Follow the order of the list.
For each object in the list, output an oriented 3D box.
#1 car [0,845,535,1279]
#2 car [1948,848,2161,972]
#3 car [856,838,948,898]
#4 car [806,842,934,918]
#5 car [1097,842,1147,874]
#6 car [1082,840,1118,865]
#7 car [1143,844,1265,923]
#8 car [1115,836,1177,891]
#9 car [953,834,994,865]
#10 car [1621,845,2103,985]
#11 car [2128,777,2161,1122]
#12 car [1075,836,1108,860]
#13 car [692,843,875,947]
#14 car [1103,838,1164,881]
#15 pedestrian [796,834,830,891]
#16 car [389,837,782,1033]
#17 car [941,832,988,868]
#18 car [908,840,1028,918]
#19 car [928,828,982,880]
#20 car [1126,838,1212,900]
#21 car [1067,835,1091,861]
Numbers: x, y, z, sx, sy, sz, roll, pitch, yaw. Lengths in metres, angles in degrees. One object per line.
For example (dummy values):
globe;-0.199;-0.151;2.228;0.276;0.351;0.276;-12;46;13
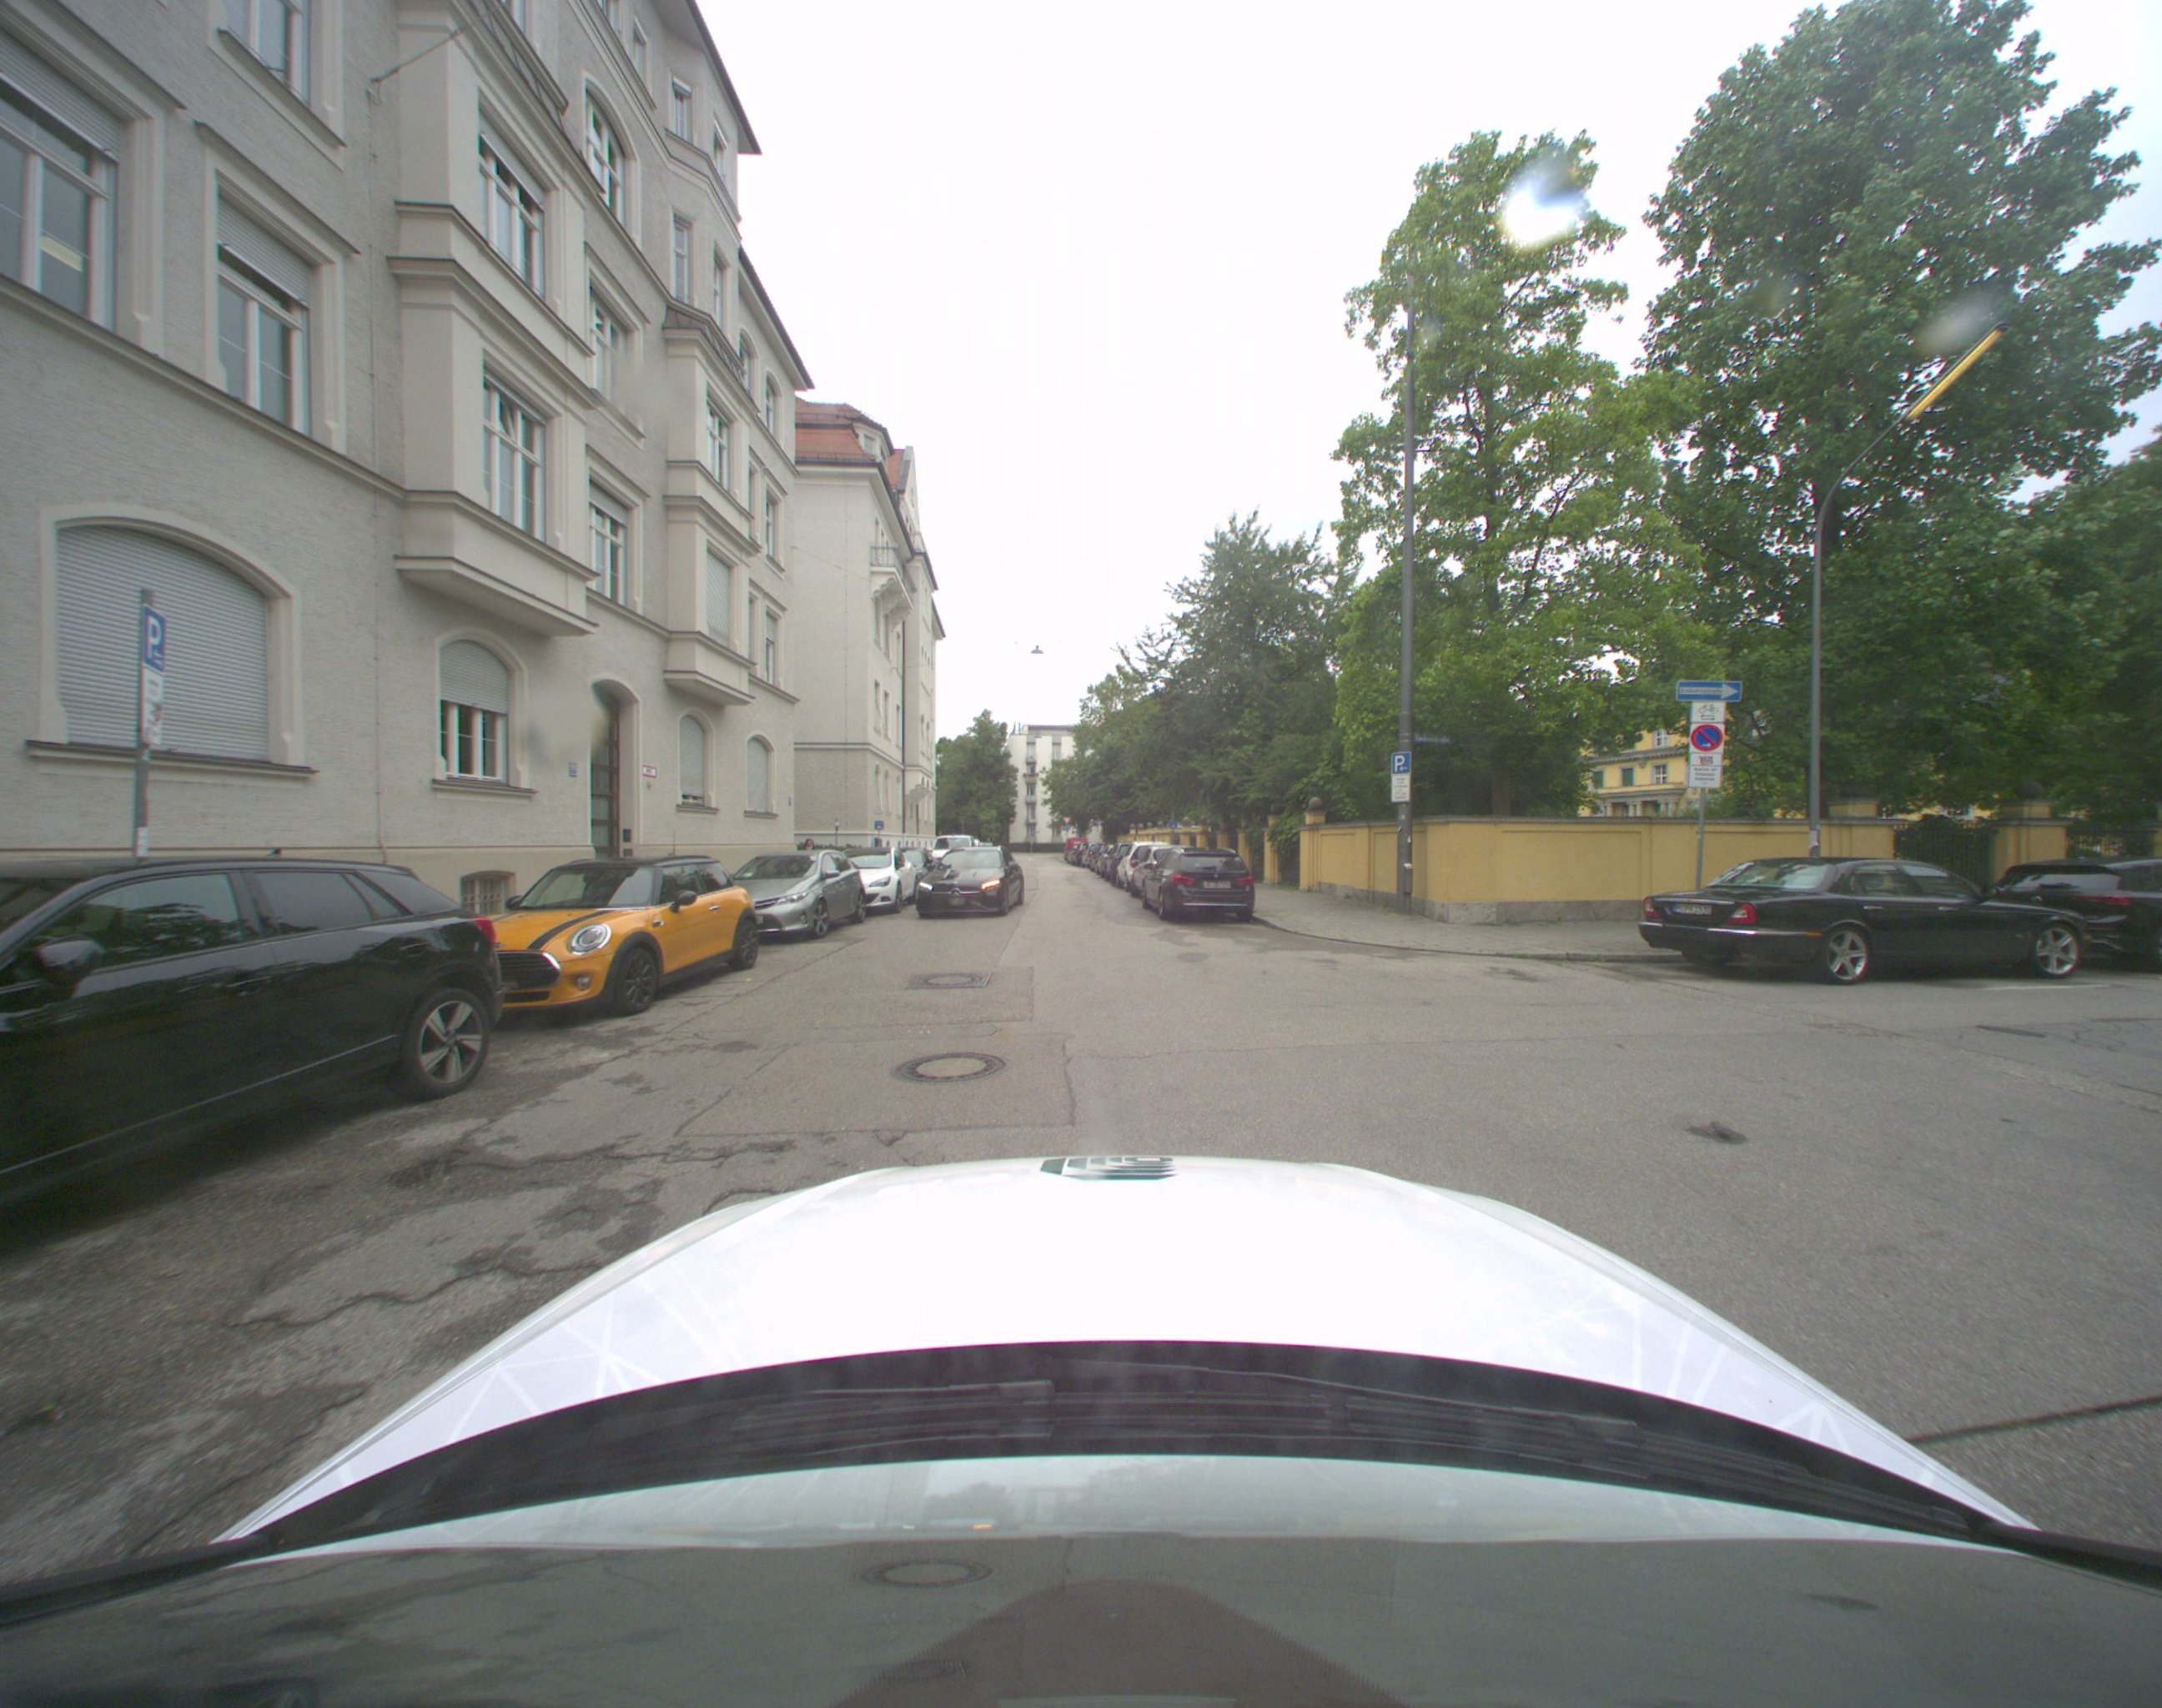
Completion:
car;-4.681;0.756;3.620;1.748;1.499;4.018;-2;1;0
car;14.919;0.672;11.098;4.588;1.482;1.918;0;0;-7
car;-5.135;0.330;23.927;1.832;1.499;4.271;-3;2;-2
car;-4.794;0.501;19.123;1.831;1.437;4.274;-3;2;0
car;1.835;0.159;37.633;1.835;1.346;3.941;1;1;-5
car;1.172;-0.116;51.380;1.835;1.518;3.941;1;1;-5
car;2.425;0.514;17.133;1.833;1.413;4.341;1;1;-1
car;2.073;0.258;26.881;1.510;1.661;3.670;1;1;-3
car;-6.482;-0.322;49.499;2.010;1.726;4.270;-3;2;-3
car;9.566;0.644;10.111;4.914;1.482;1.858;0;0;-11
car;8.461;0.553;4.087;4.526;1.950;1.899;-1;3;-8
car;0.675;-0.407;55.540;1.835;1.518;3.941;1;1;-5
car;-4.968;0.591;14.223;1.720;1.499;3.929;-2;1;0
car;1.983;0.176;32.067;1.835;1.551;3.941;1;1;-5
pedestrian;-8.074;0.239;24.555;0.790;1.679;0.700;-1;1;-2
car;-4.781;0.622;8.655;1.635;1.499;3.972;-3;2;0
car;-6.196;-0.257;43.704;2.010;1.771;4.409;-3;2;-3
car;-2.353;0.442;18.089;1.867;1.428;4.412;-1;2;2
car;-5.735;-0.065;37.593;1.882;2.127;4.702;-3;2;-3
car;2.297;0.357;22.160;1.650;1.518;3.789;1;1;-5
car;-0.152;-0.531;67.474;1.830;1.926;4.006;3;2;1
